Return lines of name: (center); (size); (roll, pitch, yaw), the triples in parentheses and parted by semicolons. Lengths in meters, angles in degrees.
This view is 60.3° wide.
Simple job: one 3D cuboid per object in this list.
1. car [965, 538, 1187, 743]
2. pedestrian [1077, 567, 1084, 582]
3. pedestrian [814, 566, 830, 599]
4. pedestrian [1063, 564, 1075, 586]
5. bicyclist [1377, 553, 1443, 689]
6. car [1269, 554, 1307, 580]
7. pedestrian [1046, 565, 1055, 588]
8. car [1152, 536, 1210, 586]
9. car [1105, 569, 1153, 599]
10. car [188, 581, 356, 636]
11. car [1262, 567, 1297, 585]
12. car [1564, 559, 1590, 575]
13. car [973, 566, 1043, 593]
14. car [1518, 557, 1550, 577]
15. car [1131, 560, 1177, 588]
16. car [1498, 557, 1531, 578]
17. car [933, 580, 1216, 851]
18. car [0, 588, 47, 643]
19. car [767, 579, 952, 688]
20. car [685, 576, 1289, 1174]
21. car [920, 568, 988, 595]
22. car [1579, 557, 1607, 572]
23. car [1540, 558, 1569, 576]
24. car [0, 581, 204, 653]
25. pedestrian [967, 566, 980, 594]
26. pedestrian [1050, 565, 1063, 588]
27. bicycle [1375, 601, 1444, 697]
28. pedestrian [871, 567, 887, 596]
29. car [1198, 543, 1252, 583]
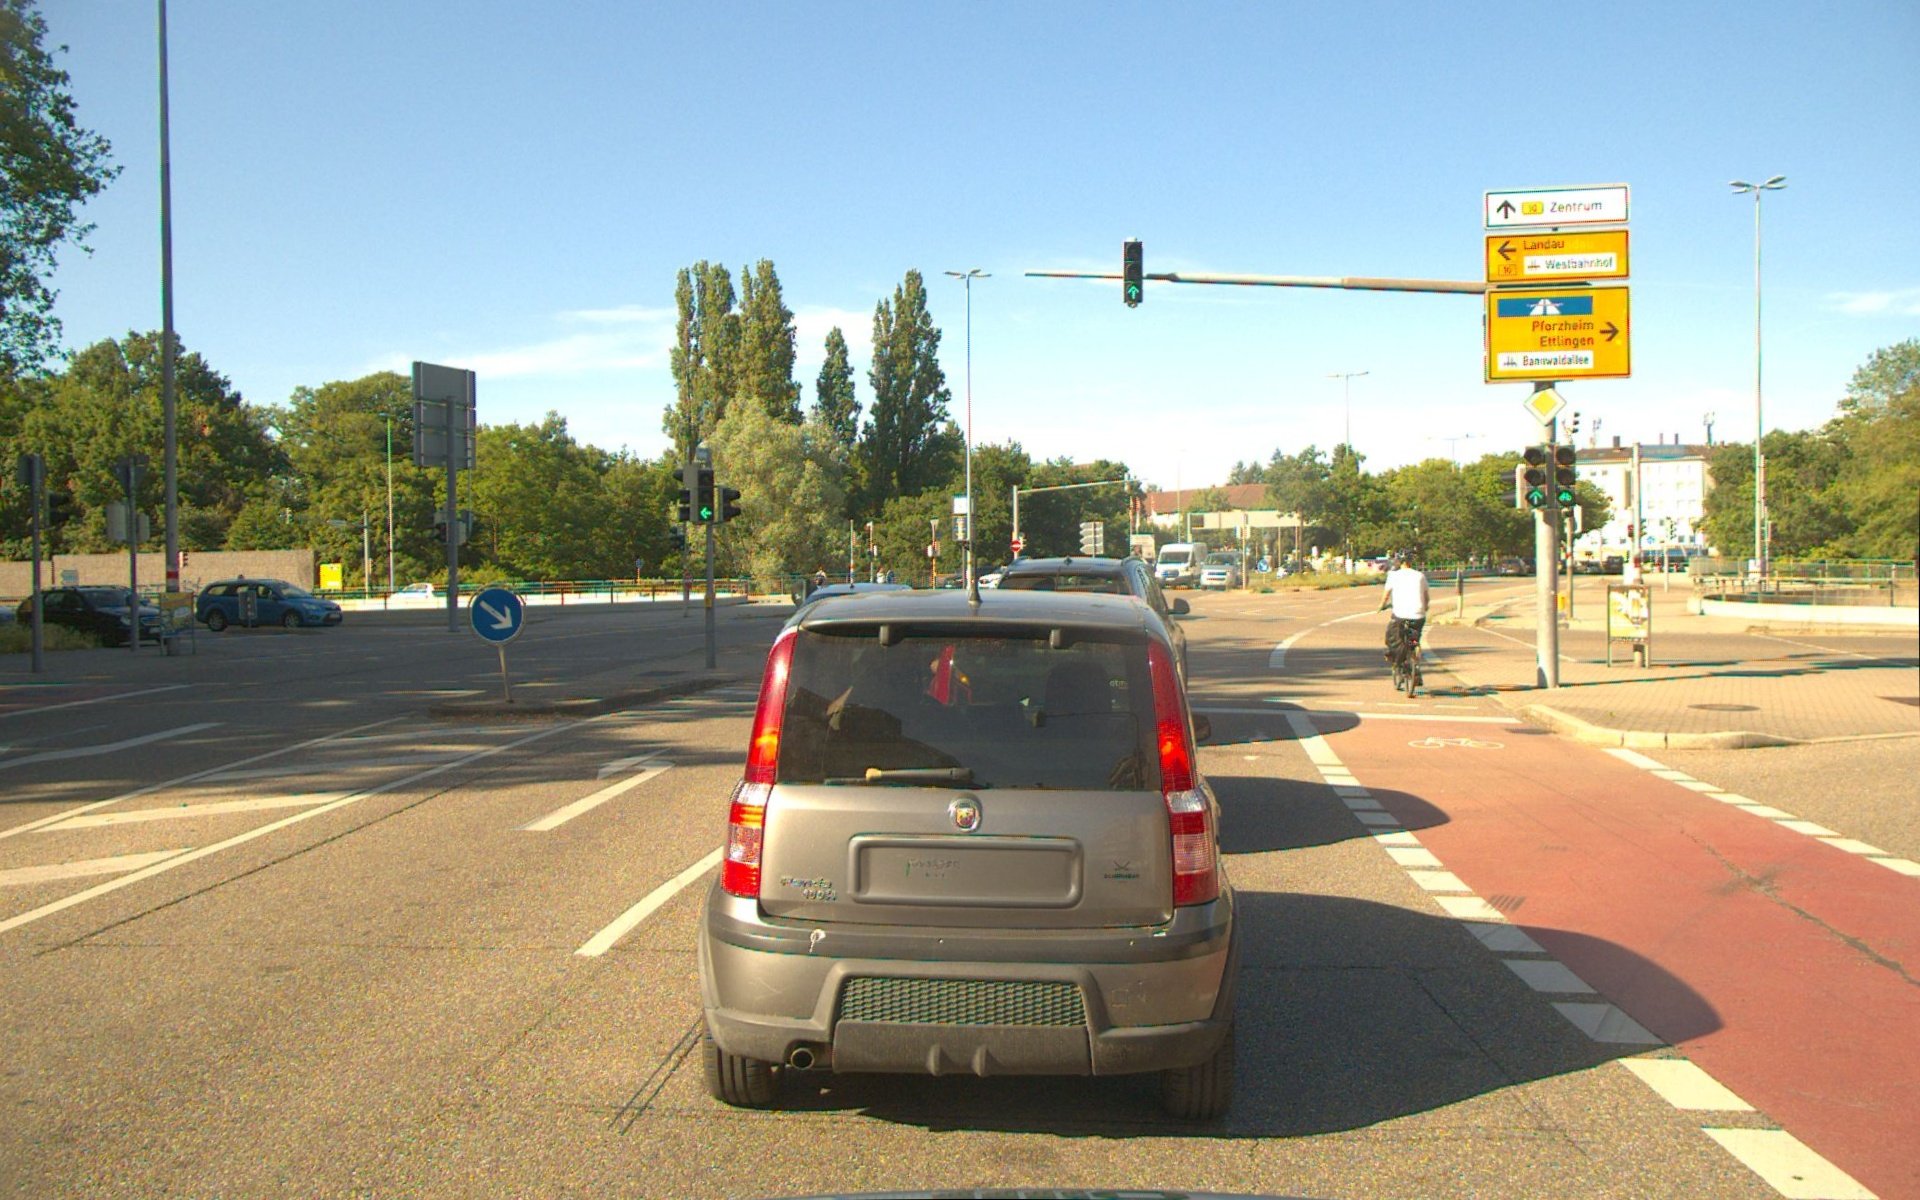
car: (1.338, 0.328, 17.301); (1.903, 1.872, 4.157); (-1, 1, 9)
pedestrian: (9.244, -1.946, 127.378); (0.415, 1.156, 0.397); (1, -1, 24)
pedestrian: (-6.220, -0.801, 74.657); (0.666, 1.488, 0.702); (-1, 1, -7)
pedestrian: (8.392, -1.895, 127.636); (0.706, 1.670, 0.672); (1, -1, 24)
bicyclist: (5.734, 0.241, 21.120); (0.708, 1.688, 1.114); (0, 1, 10)
car: (22.091, -2.227, 111.353); (1.896, 1.650, 4.508); (0, 1, 19)
pedestrian: (6.733, -1.759, 123.488); (0.488, 1.731, 0.500); (1, -1, 24)
car: (12.192, -2.167, 90.929); (1.896, 2.621, 6.091); (0, 1, 19)
car: (9.425, -0.908, 91.874); (1.896, 1.534, 4.003); (-2, 1, 17)
car: (-20.754, 0.258, 49.964); (4.348, 1.567, 1.953); (-1, 1, 13)
car: (28.459, -2.146, 147.200); (1.956, 1.474, 3.992); (1, 0, 29)
car: (61.089, -3.259, 163.820); (1.908, 1.555, 4.092); (0, 1, 28)
car: (2.971, -1.269, 101.992); (4.292, 1.562, 1.758); (-2, 3, -42)
car: (47.214, -2.736, 135.930); (1.908, 1.555, 4.093); (0, 1, 27)
car: (11.593, -1.576, 98.509); (1.773, 1.568, 4.619); (-2, 1, 18)
car: (43.031, -2.517, 128.269); (1.907, 1.555, 4.093); (0, 1, 27)
car: (0.794, 0.638, 11.262); (1.583, 1.488, 3.753); (-1, 1, 4)
car: (-26.385, 0.396, 43.496); (4.404, 1.381, 1.879); (0, 1, 24)
car: (-1.386, 0.424, 24.657); (1.742, 1.439, 4.323); (0, 1, 11)
car: (0.212, 0.703, 6.289); (1.583, 1.542, 3.822); (-1, 1, 4)
car: (-0.364, -1.154, 104.149); (3.961, 1.653, 1.874); (1, 0, -39)
car: (69.928, -3.913, 182.644); (1.913, 1.555, 4.082); (0, 1, 36)
car: (54.278, -3.006, 150.948); (1.908, 1.555, 4.092); (0, 1, 28)
car: (-21.048, 0.410, 40.196); (4.668, 1.649, 1.953); (0, 1, 15)
pedestrian: (0.752, -1.140, 94.041); (0.547, 1.574, 0.573); (-2, 0, -16)
pedestrian: (7.197, -1.781, 123.168); (0.777, 1.693, 0.626); (0, -1, 40)
bicycle: (5.726, 0.600, 21.119); (0.676, 1.121, 1.828); (0, 1, 10)
pedestrian: (-4.628, -1.061, 94.150); (0.698, 1.574, 0.725); (-2, -1, -16)
car: (13.966, -1.951, 86.967); (1.896, 2.043, 4.933); (0, 1, 19)
